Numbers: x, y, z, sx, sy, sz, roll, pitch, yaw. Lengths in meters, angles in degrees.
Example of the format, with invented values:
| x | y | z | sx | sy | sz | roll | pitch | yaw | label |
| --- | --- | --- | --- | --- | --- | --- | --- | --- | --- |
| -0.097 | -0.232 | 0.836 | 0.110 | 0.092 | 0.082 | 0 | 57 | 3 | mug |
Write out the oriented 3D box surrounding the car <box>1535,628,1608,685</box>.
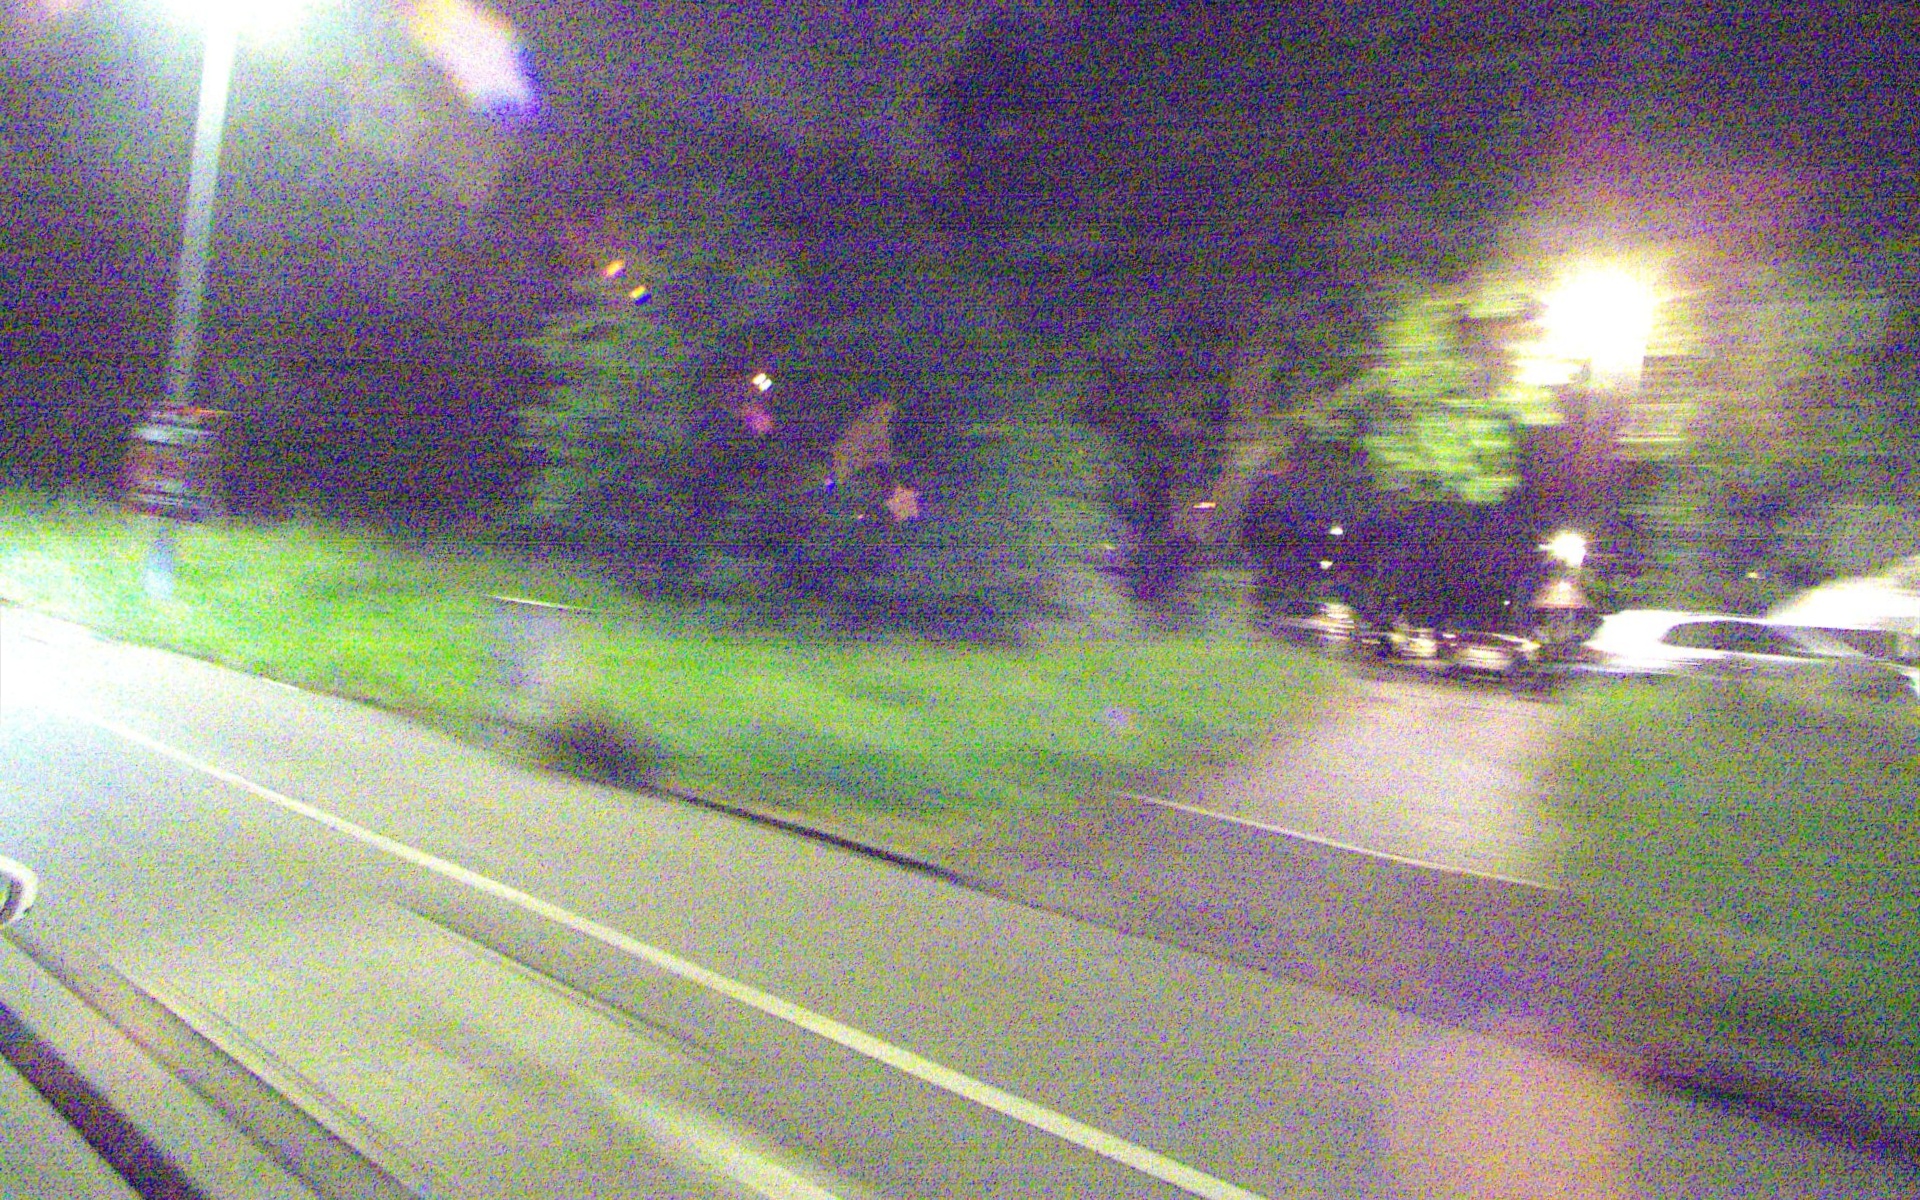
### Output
| x | y | z | sx | sy | sz | roll | pitch | yaw | label |
| --- | --- | --- | --- | --- | --- | --- | --- | --- | --- |
| 22.528 | 2.055 | 37.197 | 1.924 | 1.760 | 4.201 | 7 | 1 | 29 | car |

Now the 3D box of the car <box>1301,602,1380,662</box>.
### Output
| x | y | z | sx | sy | sz | roll | pitch | yaw | label |
| --- | --- | --- | --- | --- | --- | --- | --- | --- | --- |
| 13.874 | 1.188 | 36.571 | 1.924 | 1.861 | 4.201 | 7 | 1 | 29 | car |

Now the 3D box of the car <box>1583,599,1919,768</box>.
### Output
| x | y | z | sx | sy | sz | roll | pitch | yaw | label |
| --- | --- | --- | --- | --- | --- | --- | --- | --- | --- |
| 11.789 | 1.154 | 14.972 | 4.048 | 1.862 | 1.951 | 7 | 2 | 34 | car |

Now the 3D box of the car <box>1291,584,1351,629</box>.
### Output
| x | y | z | sx | sy | sz | roll | pitch | yaw | label |
| --- | --- | --- | --- | --- | --- | --- | --- | --- | --- |
| 17.503 | 0.335 | 48.693 | 1.924 | 1.861 | 4.201 | 7 | 1 | 29 | car |

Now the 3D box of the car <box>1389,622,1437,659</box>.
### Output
| x | y | z | sx | sy | sz | roll | pitch | yaw | label |
| --- | --- | --- | --- | --- | --- | --- | --- | --- | --- |
| 24.971 | 2.255 | 55.424 | 1.924 | 1.760 | 4.201 | 7 | 1 | 29 | car |

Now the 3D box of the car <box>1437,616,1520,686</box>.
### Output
| x | y | z | sx | sy | sz | roll | pitch | yaw | label |
| --- | --- | --- | --- | --- | --- | --- | --- | --- | --- |
| 15.789 | 1.525 | 30.566 | 1.924 | 1.760 | 4.201 | 7 | 1 | 29 | car |

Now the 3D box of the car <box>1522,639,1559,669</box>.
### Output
| x | y | z | sx | sy | sz | roll | pitch | yaw | label |
| --- | --- | --- | --- | --- | --- | --- | --- | --- | --- |
| 39.513 | 3.684 | 68.522 | 1.924 | 1.760 | 4.201 | 7 | 1 | 29 | car |

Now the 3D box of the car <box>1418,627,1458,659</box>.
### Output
| x | y | z | sx | sy | sz | roll | pitch | yaw | label |
| --- | --- | --- | --- | --- | --- | --- | --- | --- | --- |
| 30.789 | 2.763 | 64.761 | 1.924 | 1.760 | 4.201 | 7 | 1 | 29 | car |

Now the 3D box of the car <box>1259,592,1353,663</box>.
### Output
| x | y | z | sx | sy | sz | roll | pitch | yaw | label |
| --- | --- | --- | --- | --- | --- | --- | --- | --- | --- |
| 10.882 | 0.879 | 31.441 | 1.924 | 1.861 | 4.201 | 7 | 1 | 29 | car |

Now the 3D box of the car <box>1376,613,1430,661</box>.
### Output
| x | y | z | sx | sy | sz | roll | pitch | yaw | label |
| --- | --- | --- | --- | --- | --- | --- | --- | --- | --- |
| 21.913 | 1.824 | 49.677 | 1.966 | 2.040 | 3.992 | 7 | 1 | 29 | car |

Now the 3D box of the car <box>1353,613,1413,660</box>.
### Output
| x | y | z | sx | sy | sz | roll | pitch | yaw | label |
| --- | --- | --- | --- | --- | --- | --- | --- | --- | --- |
| 19.378 | 1.668 | 45.990 | 1.924 | 1.861 | 4.201 | 7 | 1 | 29 | car |
